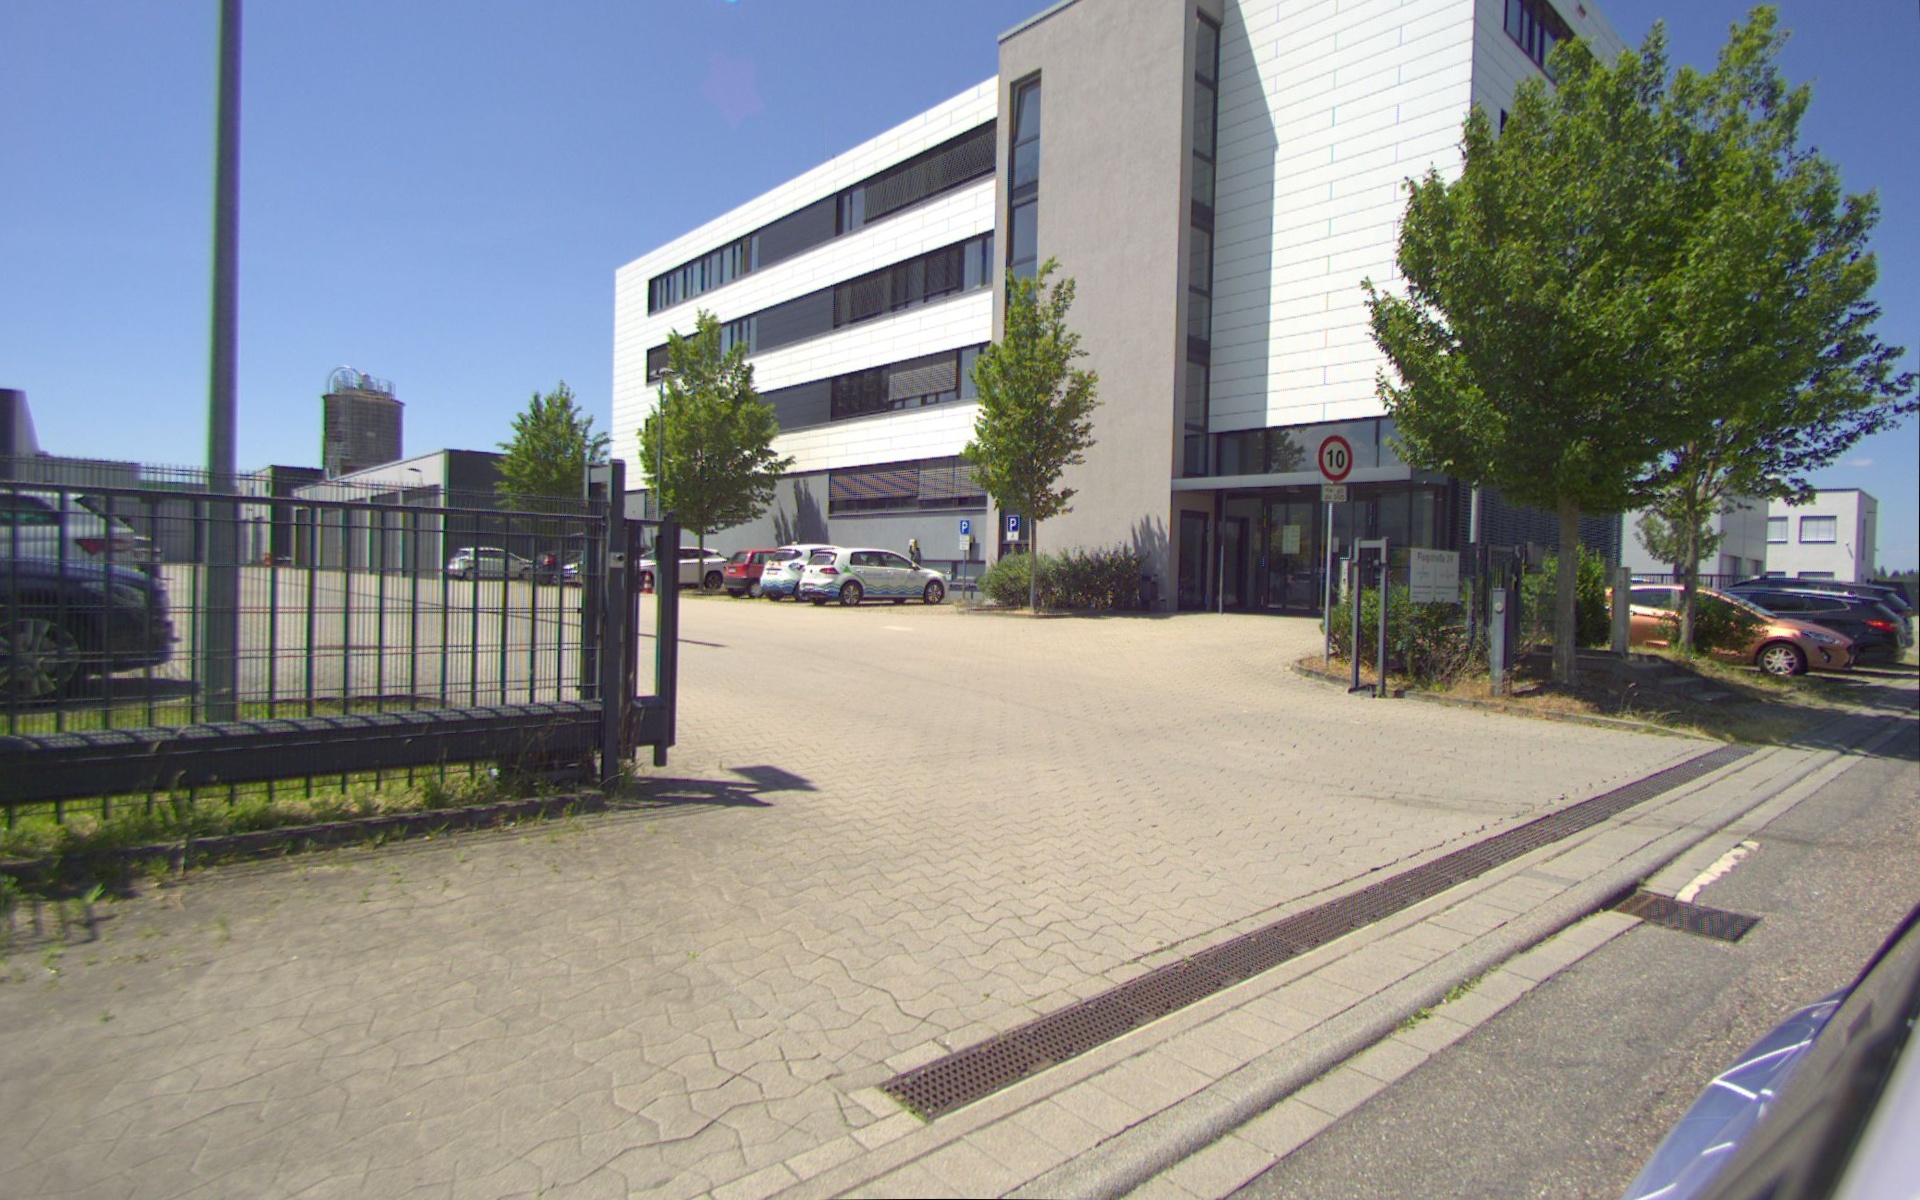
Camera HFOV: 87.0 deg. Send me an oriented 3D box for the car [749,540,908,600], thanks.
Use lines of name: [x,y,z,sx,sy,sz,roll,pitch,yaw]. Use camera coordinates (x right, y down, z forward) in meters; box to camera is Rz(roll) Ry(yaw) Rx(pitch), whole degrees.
car: [-3.683,-0.858,28.666,4.148,1.548,1.810,-1,3,-39]

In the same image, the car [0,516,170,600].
car: [-18.208,-0.829,19.593,4.442,1.552,1.914,-2,4,-43]

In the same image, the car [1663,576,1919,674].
car: [15.731,0.392,19.090,1.752,1.513,3.718,0,3,-42]

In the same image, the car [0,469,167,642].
car: [-10.655,-0.436,9.772,4.574,1.673,1.842,-2,4,-43]

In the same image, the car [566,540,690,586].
car: [-12.199,-1.359,37.275,4.043,1.570,1.618,-1,4,-41]

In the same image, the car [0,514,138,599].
car: [-20.262,-0.925,21.305,4.457,1.735,1.914,-2,4,-43]

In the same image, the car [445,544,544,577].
car: [-21.999,-1.860,47.895,3.970,1.480,1.685,-1,4,-41]

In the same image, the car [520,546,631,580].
car: [-15.560,-1.491,41.021,3.899,1.277,1.618,-1,4,-41]

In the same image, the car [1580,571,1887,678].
car: [13.381,0.339,17.698,1.695,1.513,3.994,0,3,-42]

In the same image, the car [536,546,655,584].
car: [-14.149,-1.357,39.404,4.043,1.374,1.618,-1,4,-41]

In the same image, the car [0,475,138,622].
car: [-13.790,-0.682,13.353,4.442,1.923,1.914,-2,4,-43]

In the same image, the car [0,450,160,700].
car: [-7.324,-0.138,5.652,4.337,1.472,1.792,-2,4,-43]

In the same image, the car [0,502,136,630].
car: [-12.276,-0.390,11.366,4.574,1.450,1.842,-2,4,-43]

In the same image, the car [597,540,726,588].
car: [-10.437,-1.264,35.487,4.043,1.570,1.618,-1,4,-41]

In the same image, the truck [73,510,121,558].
truck: [-49.038,-3.737,57.473,1.965,2.588,5.231,1,2,-41]

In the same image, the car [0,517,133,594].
car: [-22.018,-1.033,23.315,4.457,1.735,1.914,-2,4,-43]

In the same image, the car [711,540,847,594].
car: [-5.444,-0.995,30.628,3.718,1.513,1.619,-1,3,-39]

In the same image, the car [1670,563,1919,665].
car: [17.542,0.213,21.179,1.693,1.787,3.999,1,3,-38]

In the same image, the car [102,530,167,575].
car: [-32.379,-1.871,39.676,1.889,1.633,4.108,0,2,-40]

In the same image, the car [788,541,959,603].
car: [-2.214,-0.740,26.429,4.148,1.478,1.810,-1,3,-39]
